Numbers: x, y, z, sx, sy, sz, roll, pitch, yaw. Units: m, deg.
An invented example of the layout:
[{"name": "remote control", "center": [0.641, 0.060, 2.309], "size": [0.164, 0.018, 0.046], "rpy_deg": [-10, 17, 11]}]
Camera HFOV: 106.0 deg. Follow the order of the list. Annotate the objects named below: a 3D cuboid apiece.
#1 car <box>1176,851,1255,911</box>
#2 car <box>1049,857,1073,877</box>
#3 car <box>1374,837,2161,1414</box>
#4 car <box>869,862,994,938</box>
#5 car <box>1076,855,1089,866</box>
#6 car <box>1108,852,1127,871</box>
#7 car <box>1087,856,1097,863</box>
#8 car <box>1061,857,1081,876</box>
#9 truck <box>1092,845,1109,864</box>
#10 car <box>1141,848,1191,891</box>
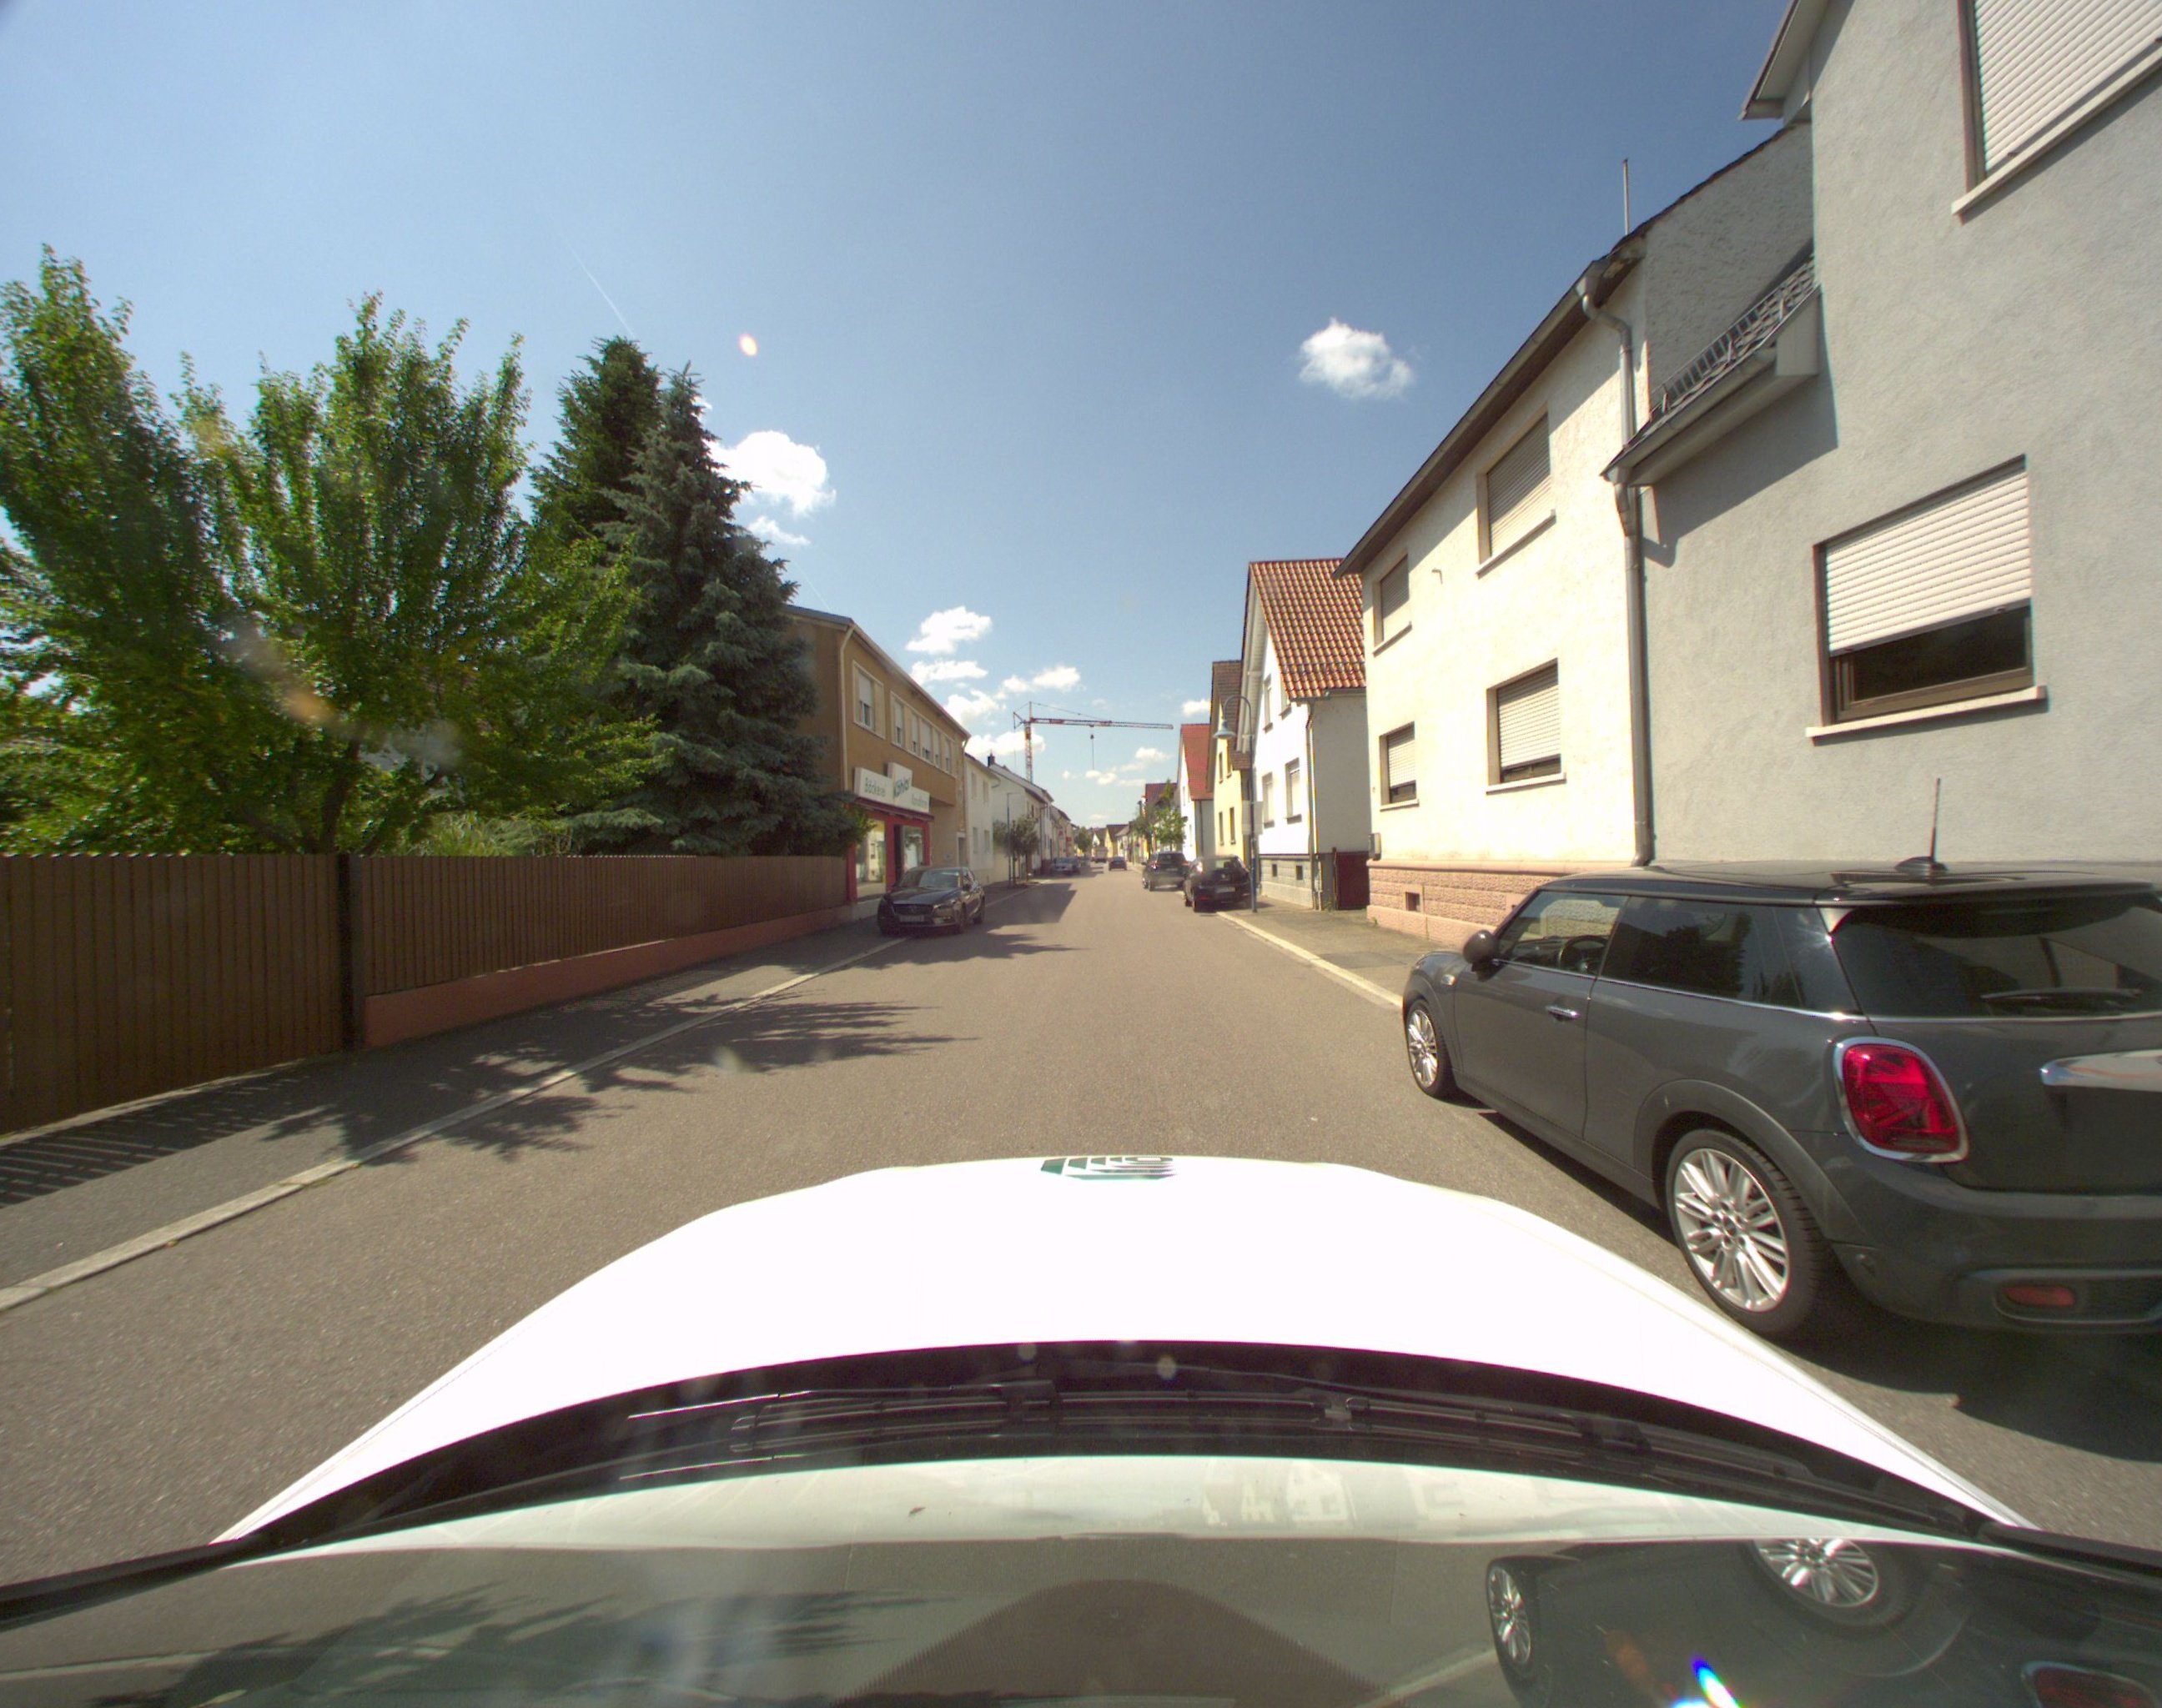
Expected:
[{"name": "car", "center": [3.811, 0.719, 23.635], "size": [1.611, 1.495, 3.973], "rpy_deg": [-5, 0, 1]}, {"name": "car", "center": [-1.612, 1.047, 68.195], "size": [1.752, 1.525, 4.290], "rpy_deg": [-2, 0, 1]}, {"name": "car", "center": [2.872, 0.686, 3.895], "size": [1.682, 1.422, 3.658], "rpy_deg": [-2, 0, 2]}, {"name": "car", "center": [-3.298, 0.969, 18.858], "size": [1.760, 1.460, 4.440], "rpy_deg": [-2, 0, 3]}, {"name": "car", "center": [0.256, 0.929, 114.312], "size": [1.716, 1.555, 4.174], "rpy_deg": [-1, 0, 2]}, {"name": "car", "center": [3.725, 0.763, 83.607], "size": [1.777, 1.753, 4.000], "rpy_deg": [-3, -1, 1]}, {"name": "car", "center": [3.061, 1.511, 230.711], "size": [1.824, 1.753, 4.208], "rpy_deg": [-3, -1, -14]}, {"name": "car", "center": [-0.913, 1.126, 74.955], "size": [1.647, 1.609, 4.062], "rpy_deg": [-2, 0, 1]}, {"name": "truck", "center": [4.269, 0.259, 180.359], "size": [3.368, 3.865, 13.925], "rpy_deg": [-3, -1, 0]}, {"name": "car", "center": [3.711, 0.656, 36.290], "size": [1.723, 1.717, 4.274], "rpy_deg": [-2, 0, 0]}]
